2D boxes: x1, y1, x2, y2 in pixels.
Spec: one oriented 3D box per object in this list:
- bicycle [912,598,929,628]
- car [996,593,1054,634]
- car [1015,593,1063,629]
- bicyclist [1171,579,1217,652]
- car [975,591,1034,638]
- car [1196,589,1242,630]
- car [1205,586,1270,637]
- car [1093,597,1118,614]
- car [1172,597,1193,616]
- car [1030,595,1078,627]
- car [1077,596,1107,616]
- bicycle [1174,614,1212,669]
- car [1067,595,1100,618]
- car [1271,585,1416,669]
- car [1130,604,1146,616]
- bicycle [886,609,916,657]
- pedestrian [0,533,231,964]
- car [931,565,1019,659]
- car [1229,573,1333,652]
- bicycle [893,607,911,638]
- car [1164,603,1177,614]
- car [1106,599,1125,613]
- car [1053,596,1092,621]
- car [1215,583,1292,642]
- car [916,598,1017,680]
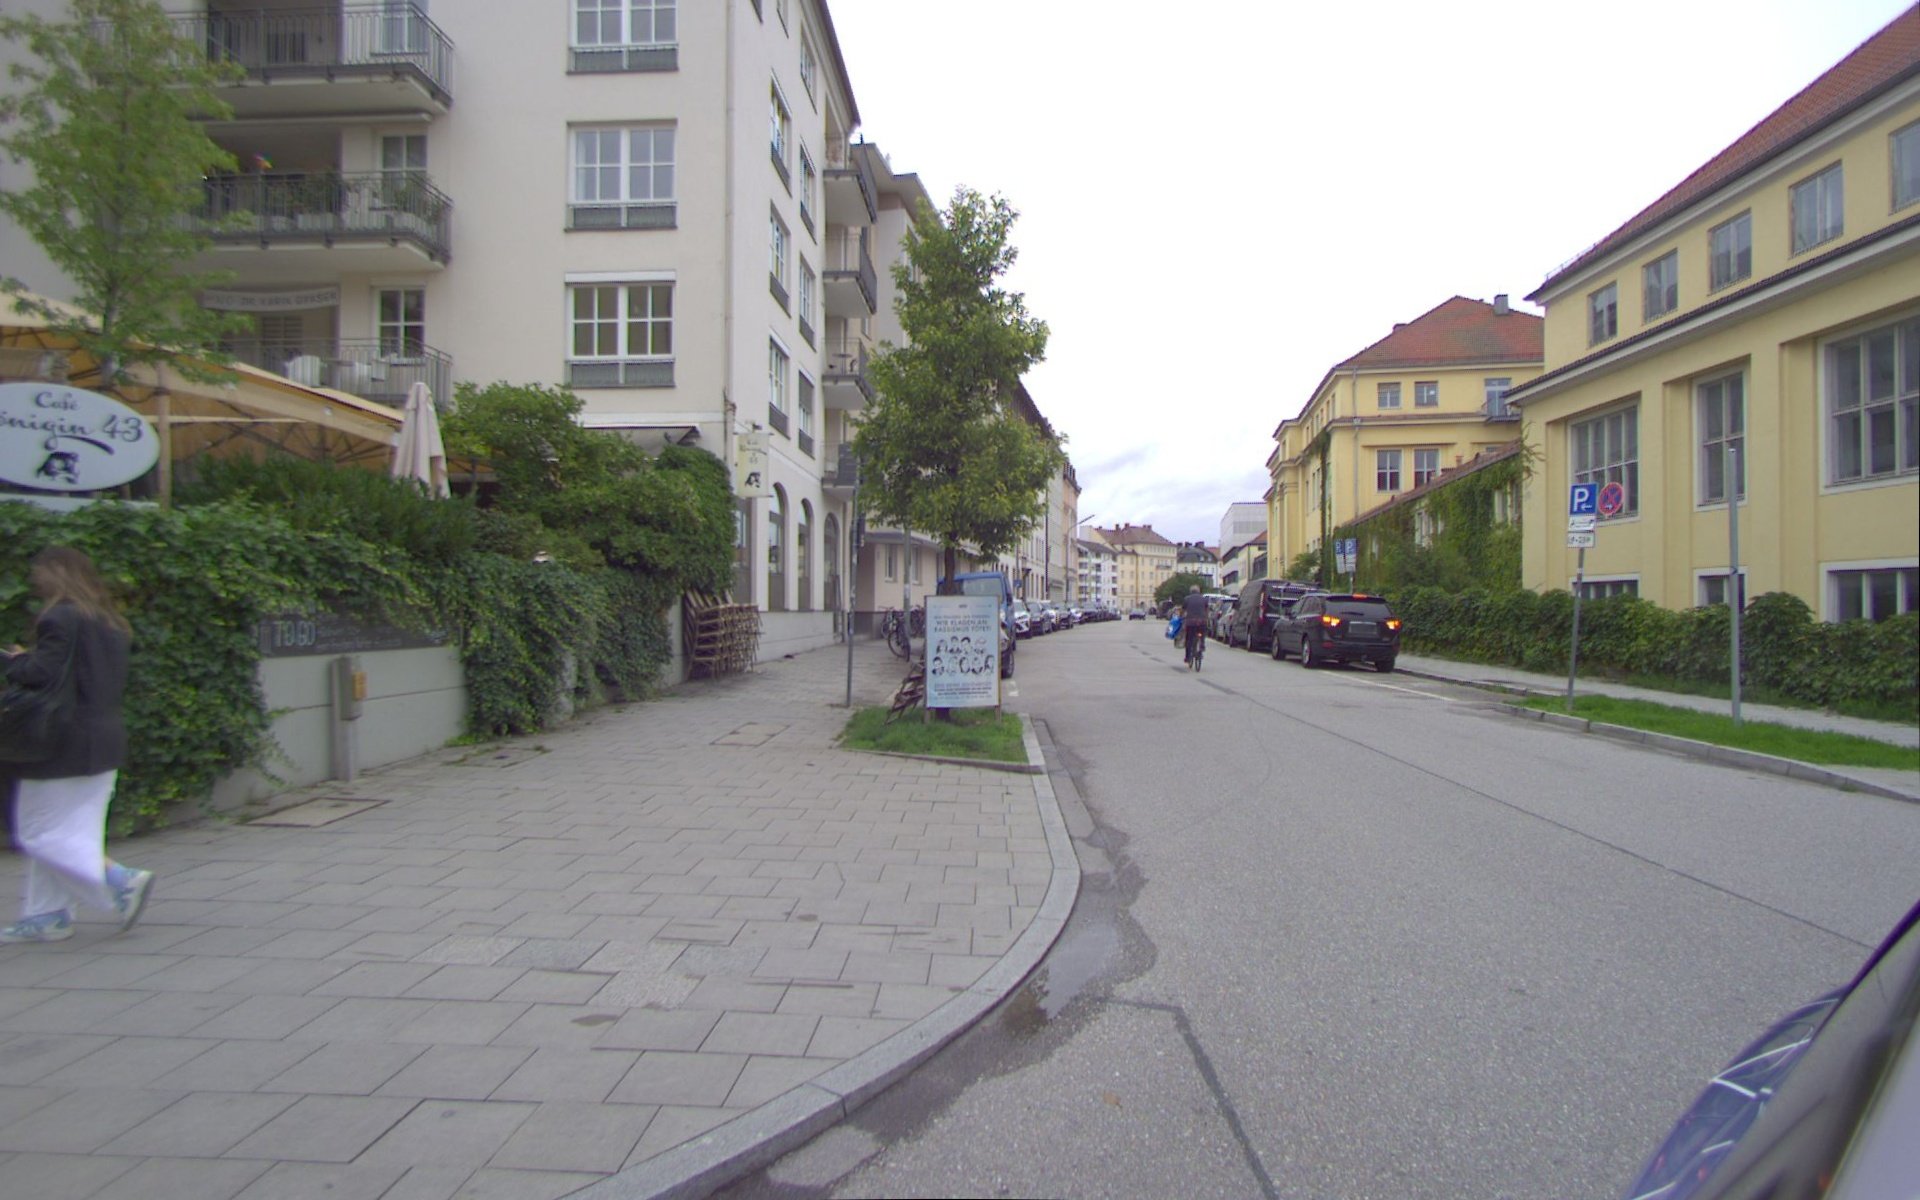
[{"bbox_3d":[-1.429,0.451,37.155,0.455,1.066,1.840,2,0,2],"label":"bicycle"},{"bbox_3d":[2.863,0.566,43.855,1.930,1.581,4.597,-3,-1,10],"label":"car"},{"bbox_3d":[3.827,0.525,48.584,1.887,1.581,4.077,-3,-1,9],"label":"car"},{"bbox_3d":[4.850,0.315,21.038,0.829,1.476,0.742,2,0,9],"label":"bicyclist"},{"bbox_3d":[1.768,0.556,38.796,1.949,1.581,4.706,-3,-1,5],"label":"car"},{"bbox_3d":[12.894,0.452,50.583,1.946,1.859,4.664,2,0,12],"label":"car"},{"bbox_3d":[11.042,0.450,40.576,1.944,1.859,4.669,2,0,9],"label":"car"},{"bbox_3d":[13.877,0.546,96.426,1.865,1.473,4.720,-3,-1,13],"label":"car"},{"bbox_3d":[23.859,0.675,108.633,1.945,1.859,4.668,2,0,10],"label":"car"},{"bbox_3d":[5.001,0.572,53.329,1.865,1.473,4.583,-3,-1,13],"label":"car"},{"bbox_3d":[10.438,0.460,79.698,1.865,1.473,4.720,-3,-1,13],"label":"car"},{"bbox_3d":[4.833,0.841,21.057,0.613,1.030,1.713,2,0,9],"label":"bicycle"},{"bbox_3d":[9.043,0.472,73.749,1.865,1.473,4.720,-3,-1,13],"label":"car"},{"bbox_3d":[8.860,0.569,23.834,1.902,1.730,4.620,2,0,4],"label":"car"},{"bbox_3d":[20.381,1.100,115.771,1.766,1.358,3.823,-1,0,11],"label":"car"},{"bbox_3d":[-1.427,0.780,24.738,0.478,1.066,2.181,2,0,2],"label":"bicycle"},{"bbox_3d":[-3.729,0.568,4.230,0.864,1.643,0.706,-1,-1,2],"label":"pedestrian"},{"bbox_3d":[0.499,0.245,26.904,1.949,2.196,4.709,-3,1,4],"label":"car"},{"bbox_3d":[9.380,0.340,29.972,1.942,2.097,4.674,2,0,6],"label":"car"},{"bbox_3d":[-2.077,0.807,36.552,0.429,1.066,1.964,2,0,2],"label":"bicycle"},{"bbox_3d":[30.498,1.225,146.709,1.745,1.549,3.982,-1,0,14],"label":"car"},{"bbox_3d":[18.255,0.695,118.638,1.865,1.473,4.720,-3,-1,13],"label":"car"},{"bbox_3d":[7.202,0.550,64.670,1.865,1.473,4.720,-3,-1,13],"label":"car"},{"bbox_3d":[10.149,0.410,35.362,1.944,1.859,4.669,2,0,9],"label":"car"},{"bbox_3d":[0.221,0.732,20.690,1.749,1.413,3.800,-3,0,4],"label":"car"}]
